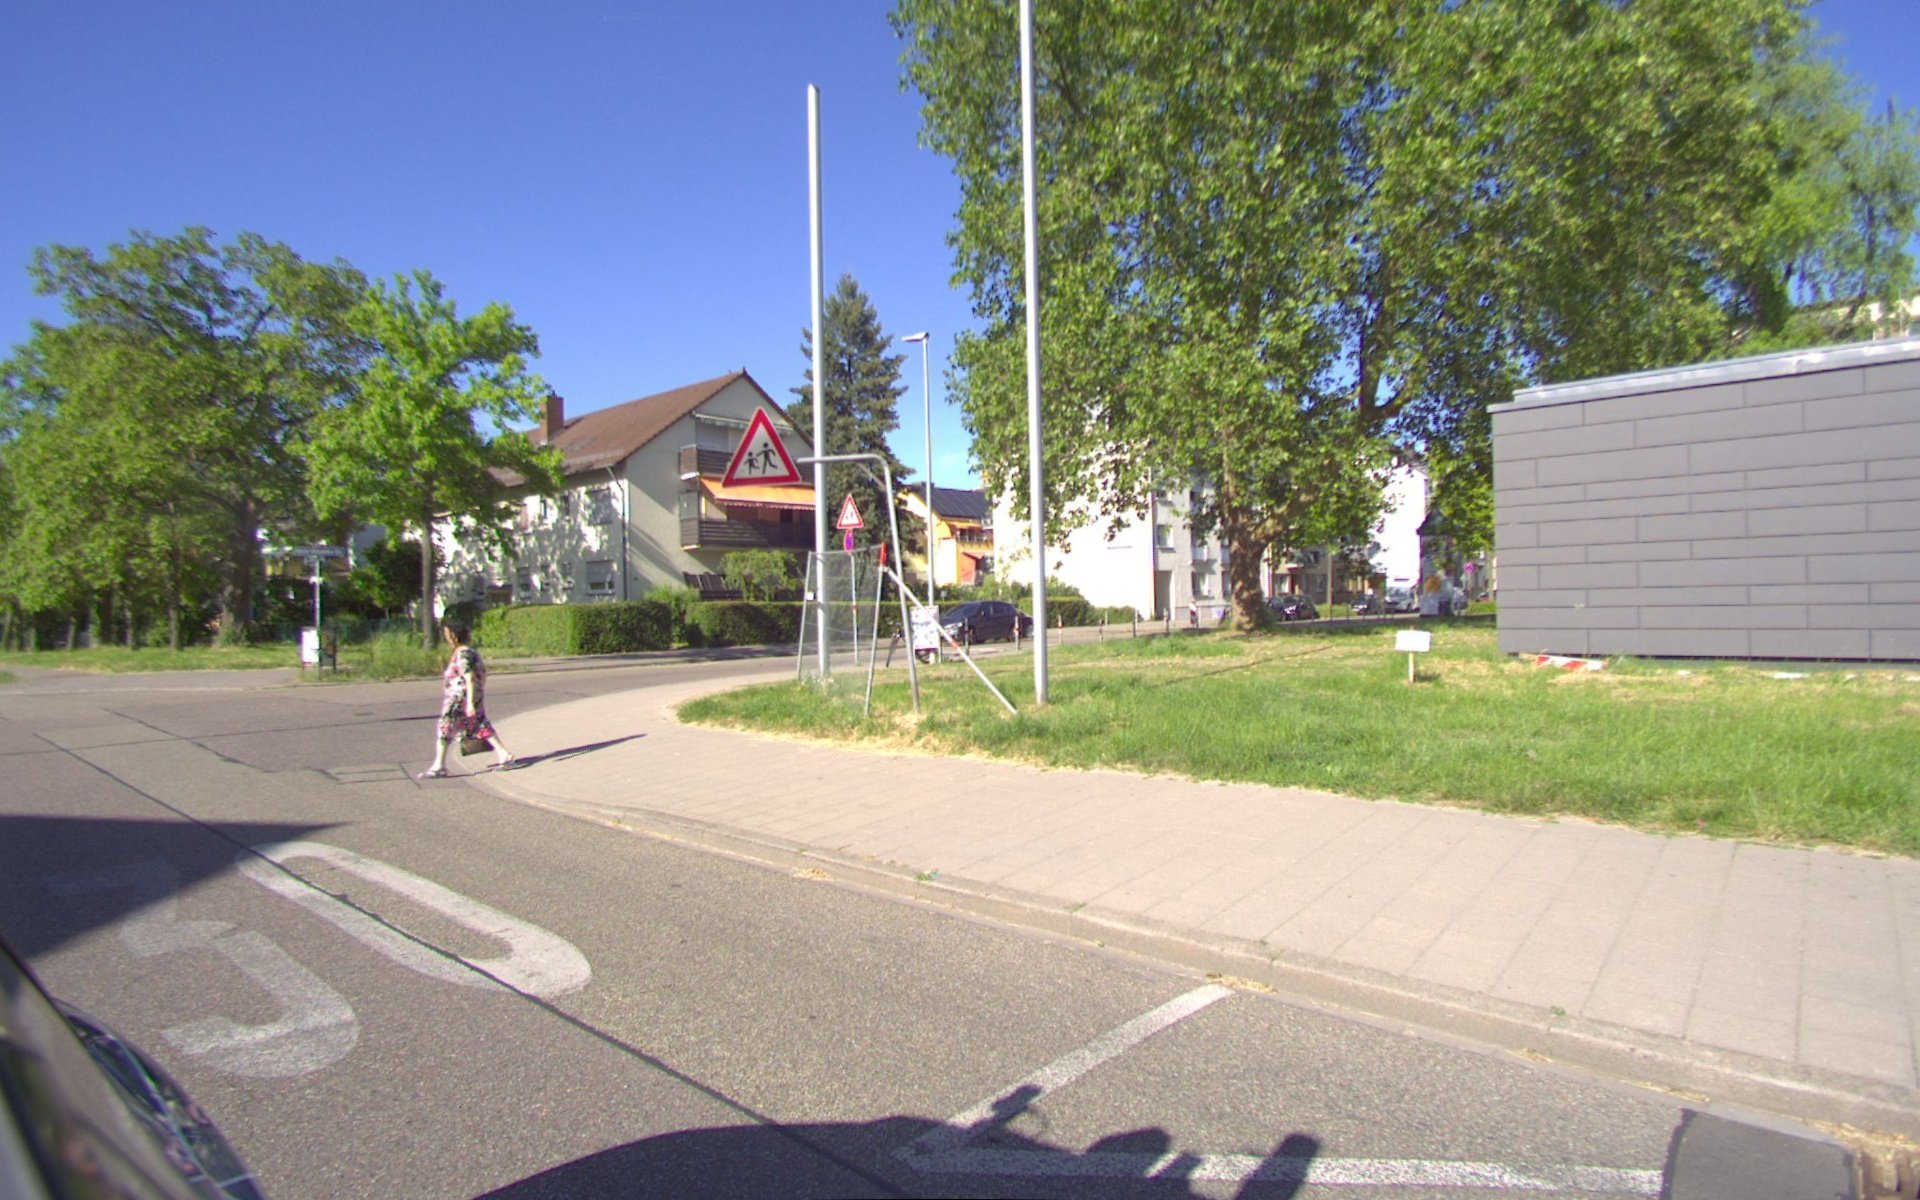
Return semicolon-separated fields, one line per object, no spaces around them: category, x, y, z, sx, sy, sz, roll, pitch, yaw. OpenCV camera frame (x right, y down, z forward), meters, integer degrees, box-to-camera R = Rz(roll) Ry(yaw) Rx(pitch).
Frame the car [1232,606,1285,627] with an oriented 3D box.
car;17.646;0.969;59.658;1.538;1.202;3.947;-2;-2;40

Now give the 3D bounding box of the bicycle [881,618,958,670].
bicycle;-0.867;0.933;21.754;1.574;0.992;0.501;-3;-1;-33

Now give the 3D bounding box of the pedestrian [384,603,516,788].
pedestrian;-4.771;0.866;9.525;0.823;1.598;0.633;-4;3;-7

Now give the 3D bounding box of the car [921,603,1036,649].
car;0.728;0.932;36.809;2.114;1.469;4.055;-3;-1;39

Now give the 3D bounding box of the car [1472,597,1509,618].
car;47.776;0.650;91.068;2.000;1.763;3.944;-2;-1;42

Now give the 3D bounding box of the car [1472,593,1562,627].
car;35.391;0.626;64.388;4.680;2.029;1.972;-2;-1;43

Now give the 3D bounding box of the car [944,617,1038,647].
car;1.286;1.262;40.352;1.629;1.039;3.969;-2;0;40

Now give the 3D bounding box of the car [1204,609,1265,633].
car;14.423;1.114;53.087;1.538;1.202;3.947;-2;-2;40
